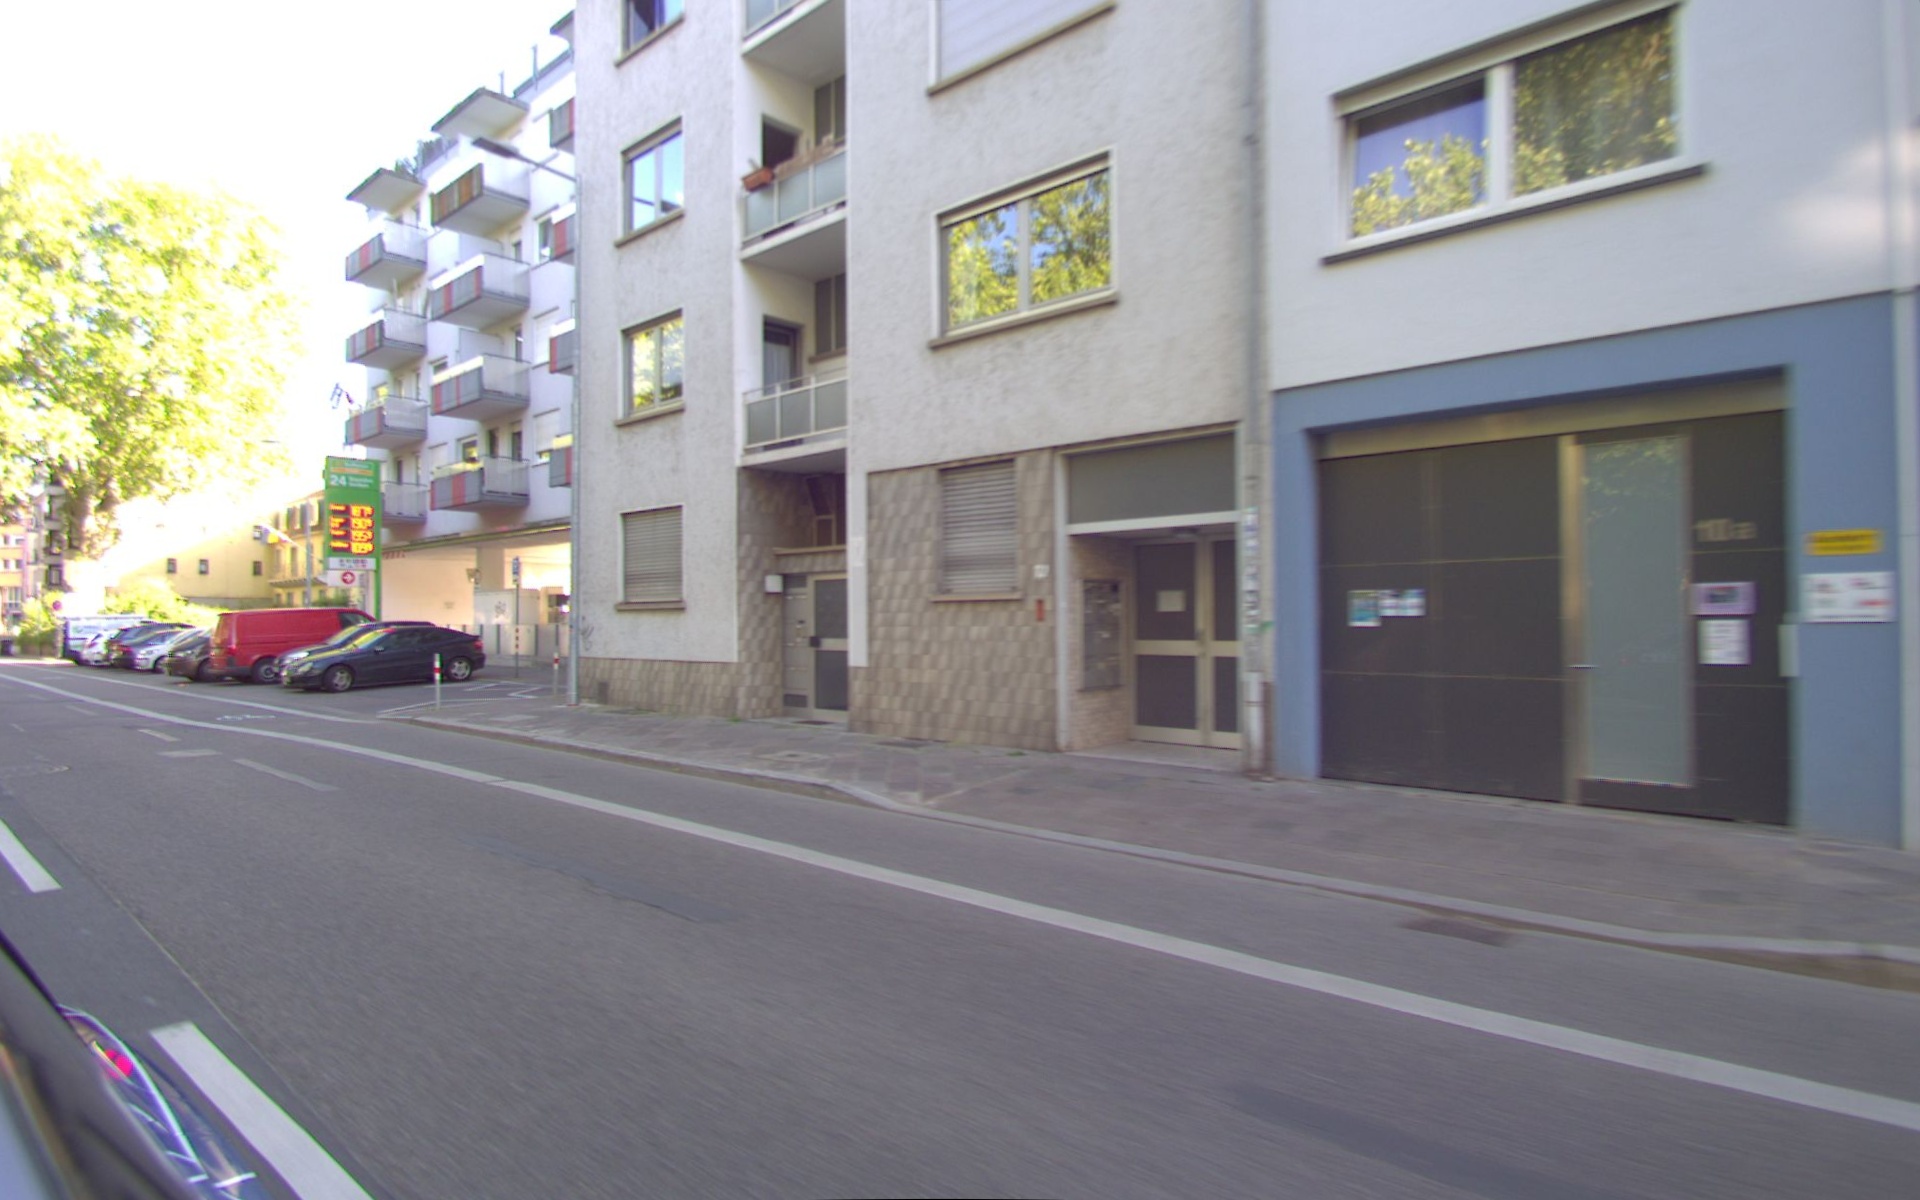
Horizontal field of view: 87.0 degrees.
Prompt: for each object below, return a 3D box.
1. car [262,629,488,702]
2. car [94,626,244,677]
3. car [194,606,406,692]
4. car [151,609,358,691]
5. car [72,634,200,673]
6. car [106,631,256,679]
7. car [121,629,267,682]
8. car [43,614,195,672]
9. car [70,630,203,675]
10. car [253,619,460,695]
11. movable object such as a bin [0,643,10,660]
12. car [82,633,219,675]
[{"bbox_3d":[-13.744,1.462,23.942,2.045,1.390,4.185,-1,0,41],"label":"car"},{"bbox_3d":[-29.634,1.885,37.995,2.027,1.696,4.151,-2,-1,41],"label":"car"},{"bbox_3d":[-17.808,1.262,27.467,2.145,1.966,4.375,-2,0,41],"label":"car"},{"bbox_3d":[-20.140,1.359,29.044,2.056,1.966,4.476,-2,0,41],"label":"car"},{"bbox_3d":[-34.789,2.225,42.796,1.852,1.444,3.946,-2,-1,41],"label":"car"},{"bbox_3d":[-27.753,1.924,36.116,1.915,1.467,3.946,-2,-1,41],"label":"car"},{"bbox_3d":[-26.106,1.855,34.567,1.830,1.524,3.647,-2,0,41],"label":"car"},{"bbox_3d":[-36.668,1.831,44.224,2.139,2.233,4.794,-2,0,41],"label":"car"},{"bbox_3d":[-33.339,2.092,41.052,1.852,1.571,3.946,-3,-1,41],"label":"car"},{"bbox_3d":[-15.258,1.384,25.759,1.886,1.575,4.130,-2,1,41],"label":"car"},{"bbox_3d":[-59.817,3.215,63.213,0.644,1.079,0.588,-2,-2,41],"label":"movable object such as a bin"},{"bbox_3d":[-31.693,2.078,39.706,1.852,1.444,3.946,-2,-1,41],"label":"car"}]
